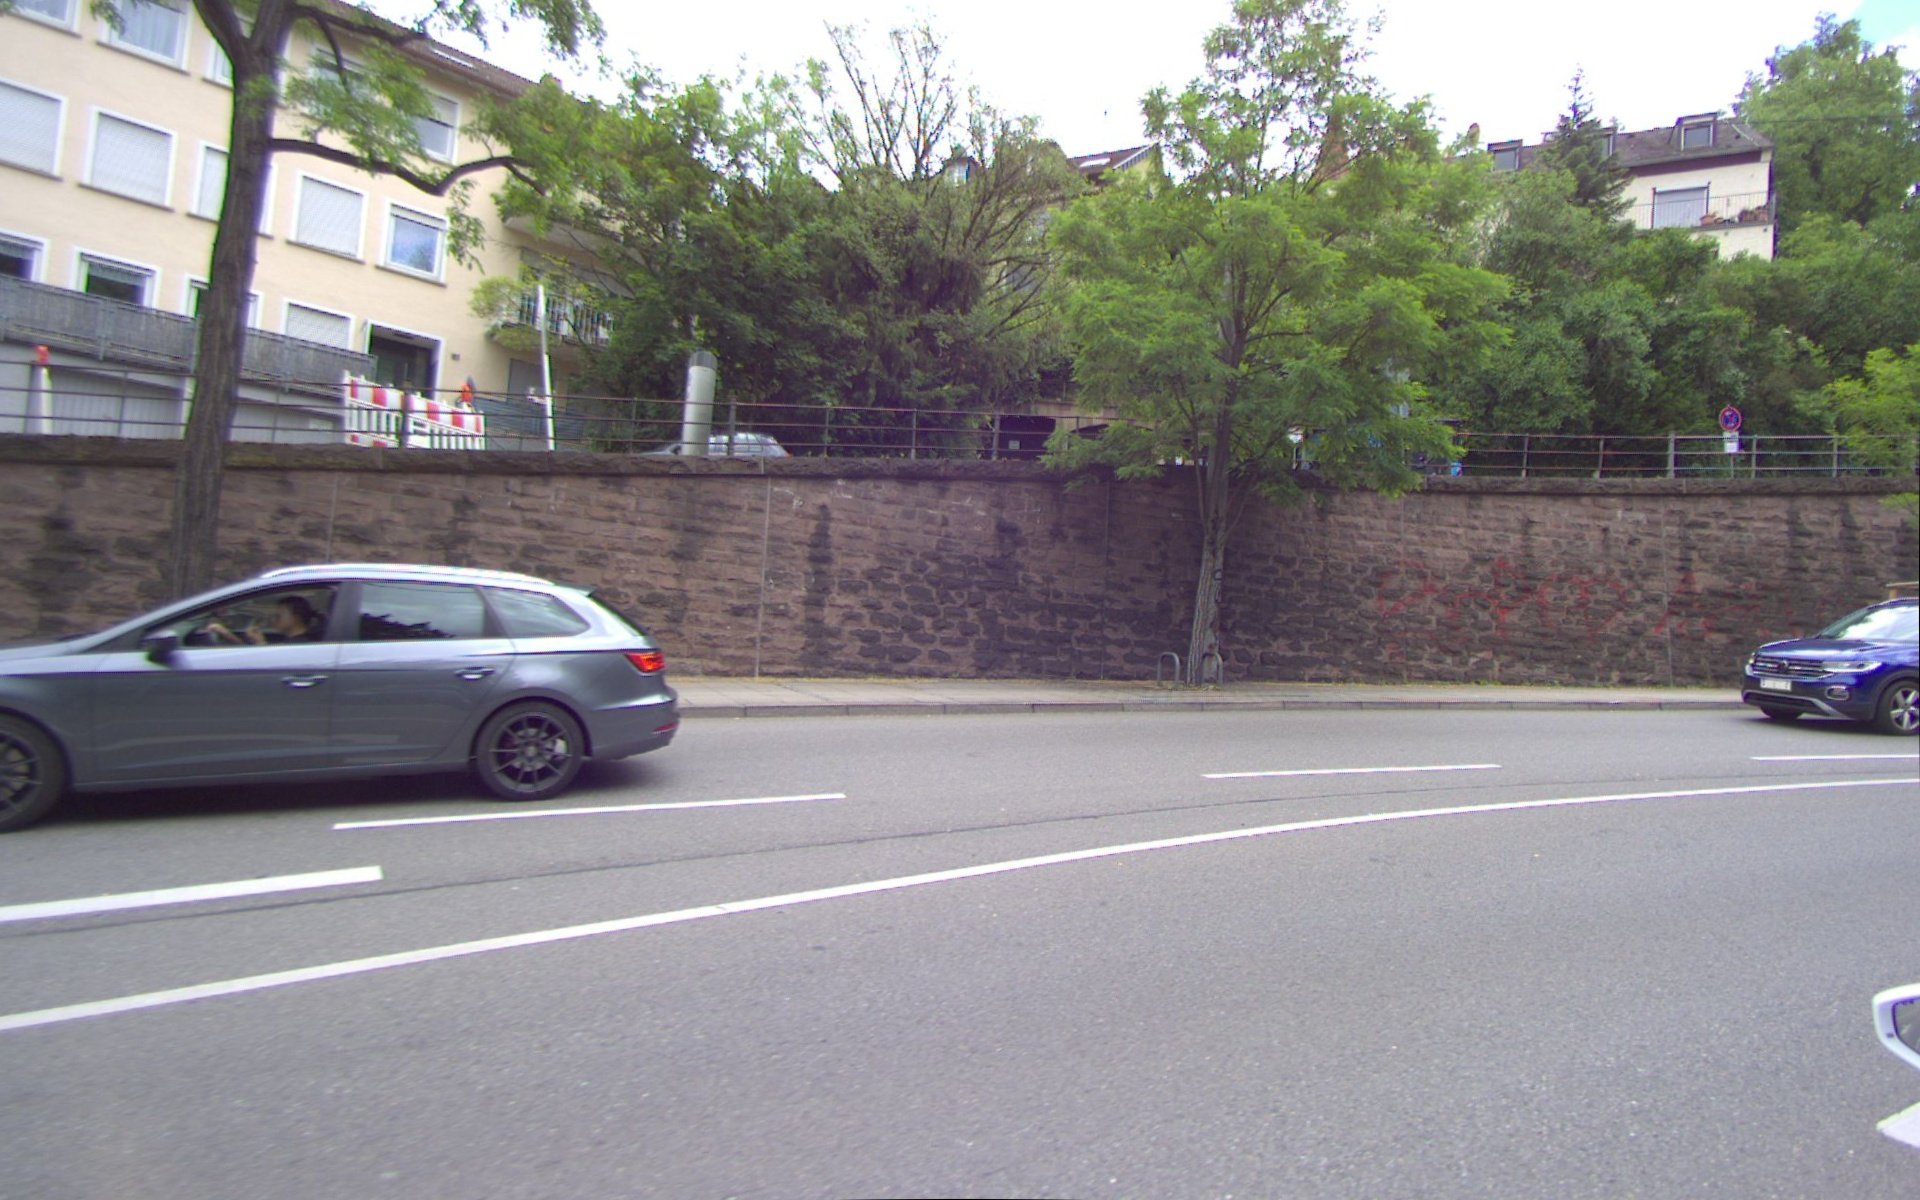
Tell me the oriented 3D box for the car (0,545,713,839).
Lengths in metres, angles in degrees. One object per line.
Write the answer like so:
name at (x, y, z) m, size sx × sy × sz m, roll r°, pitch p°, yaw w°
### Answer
car at (-3.993, 0.481, 6.507) m, size 4.347 × 1.486 × 1.776 m, roll 2°, pitch 1°, yaw -28°

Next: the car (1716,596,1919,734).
car at (11.957, 0.755, 12.357) m, size 4.121 × 1.548 × 1.730 m, roll 1°, pitch 1°, yaw -4°

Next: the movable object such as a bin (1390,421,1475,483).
movable object such as a bin at (12.225, -3.824, 26.043) m, size 1.573 × 1.373 × 1.253 m, roll 0°, pitch -2°, yaw -1°

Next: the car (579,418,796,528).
car at (-5.585, -2.514, 20.619) m, size 4.012 × 1.661 × 1.763 m, roll 3°, pitch -1°, yaw -26°
